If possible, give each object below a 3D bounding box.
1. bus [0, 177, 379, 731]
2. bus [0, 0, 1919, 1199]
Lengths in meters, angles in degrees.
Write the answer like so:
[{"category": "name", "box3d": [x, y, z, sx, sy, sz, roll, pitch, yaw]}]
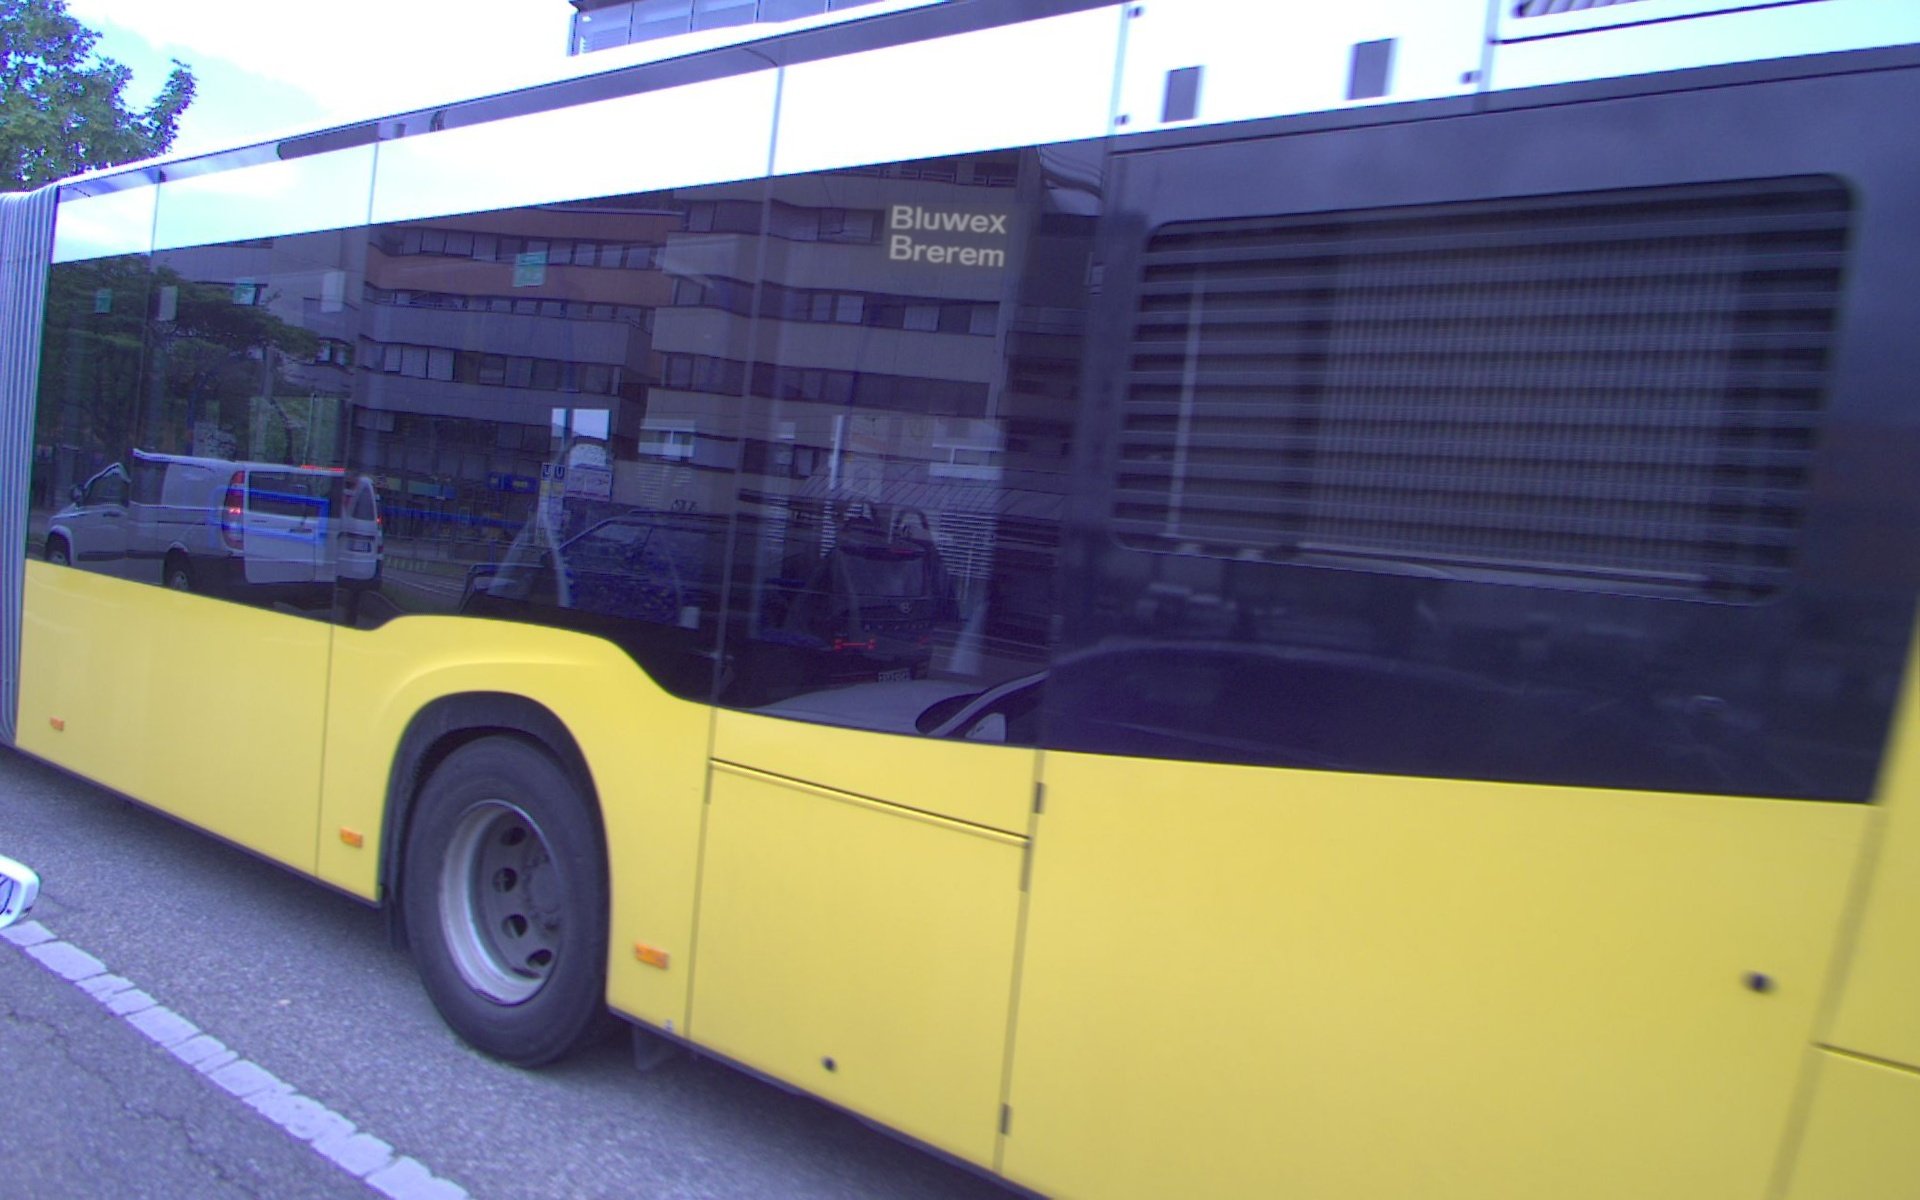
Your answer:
[{"category": "bus", "box3d": [-9.129, -1.302, 8.699, 8.969, 3.206, 2.714, 7, 3, 29]}, {"category": "bus", "box3d": [-1.444, -0.301, 4.313, 8.717, 3.150, 2.714, 8, 2, 29]}]
